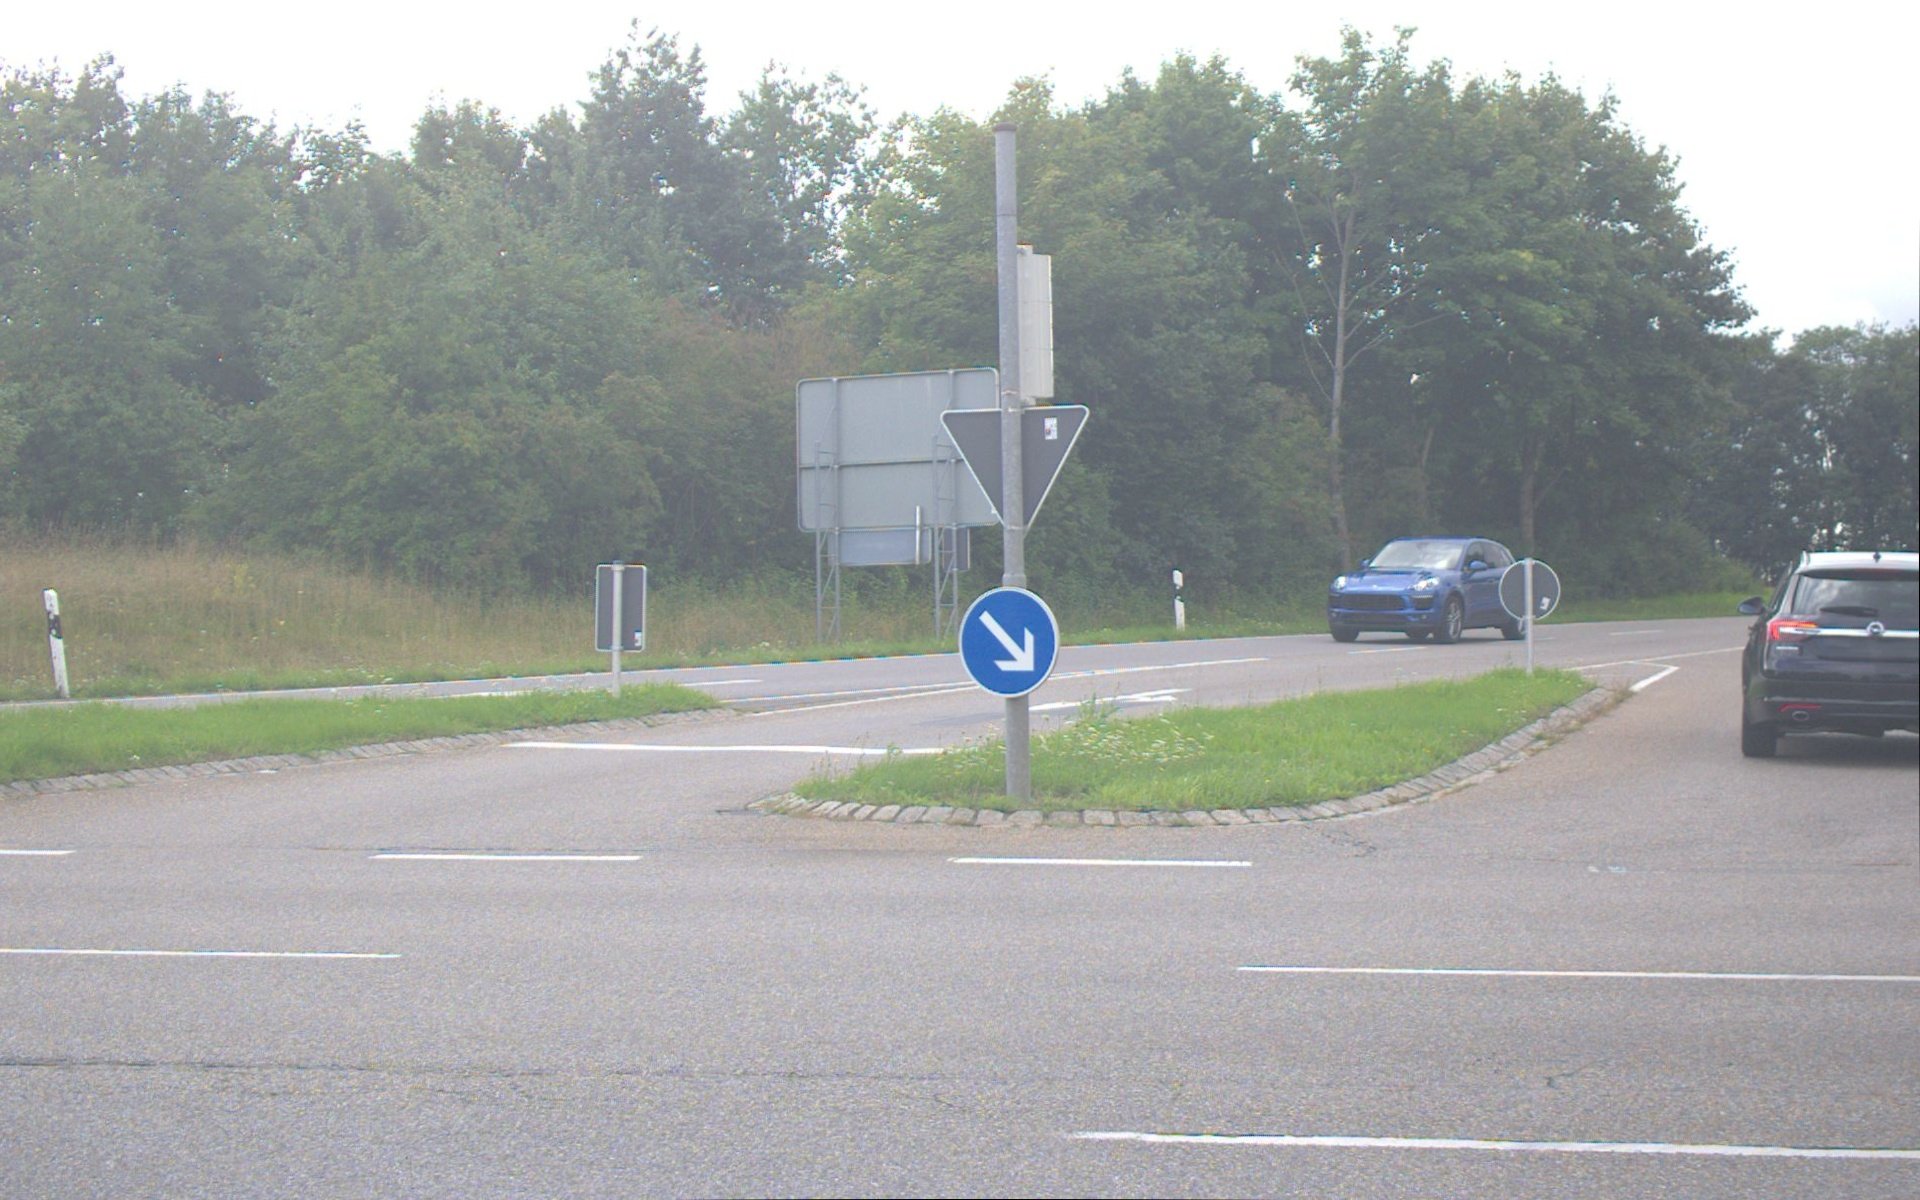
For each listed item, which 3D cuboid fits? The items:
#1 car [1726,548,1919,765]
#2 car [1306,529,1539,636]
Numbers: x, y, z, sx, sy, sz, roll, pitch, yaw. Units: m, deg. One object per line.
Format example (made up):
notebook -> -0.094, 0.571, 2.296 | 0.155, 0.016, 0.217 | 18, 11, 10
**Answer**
car -> 6.591, 0.393, 25.158 | 1.809, 1.446, 4.270 | 0, 0, 14
car -> 7.144, -0.270, 52.726 | 1.997, 1.565, 4.749 | 0, 0, 28
